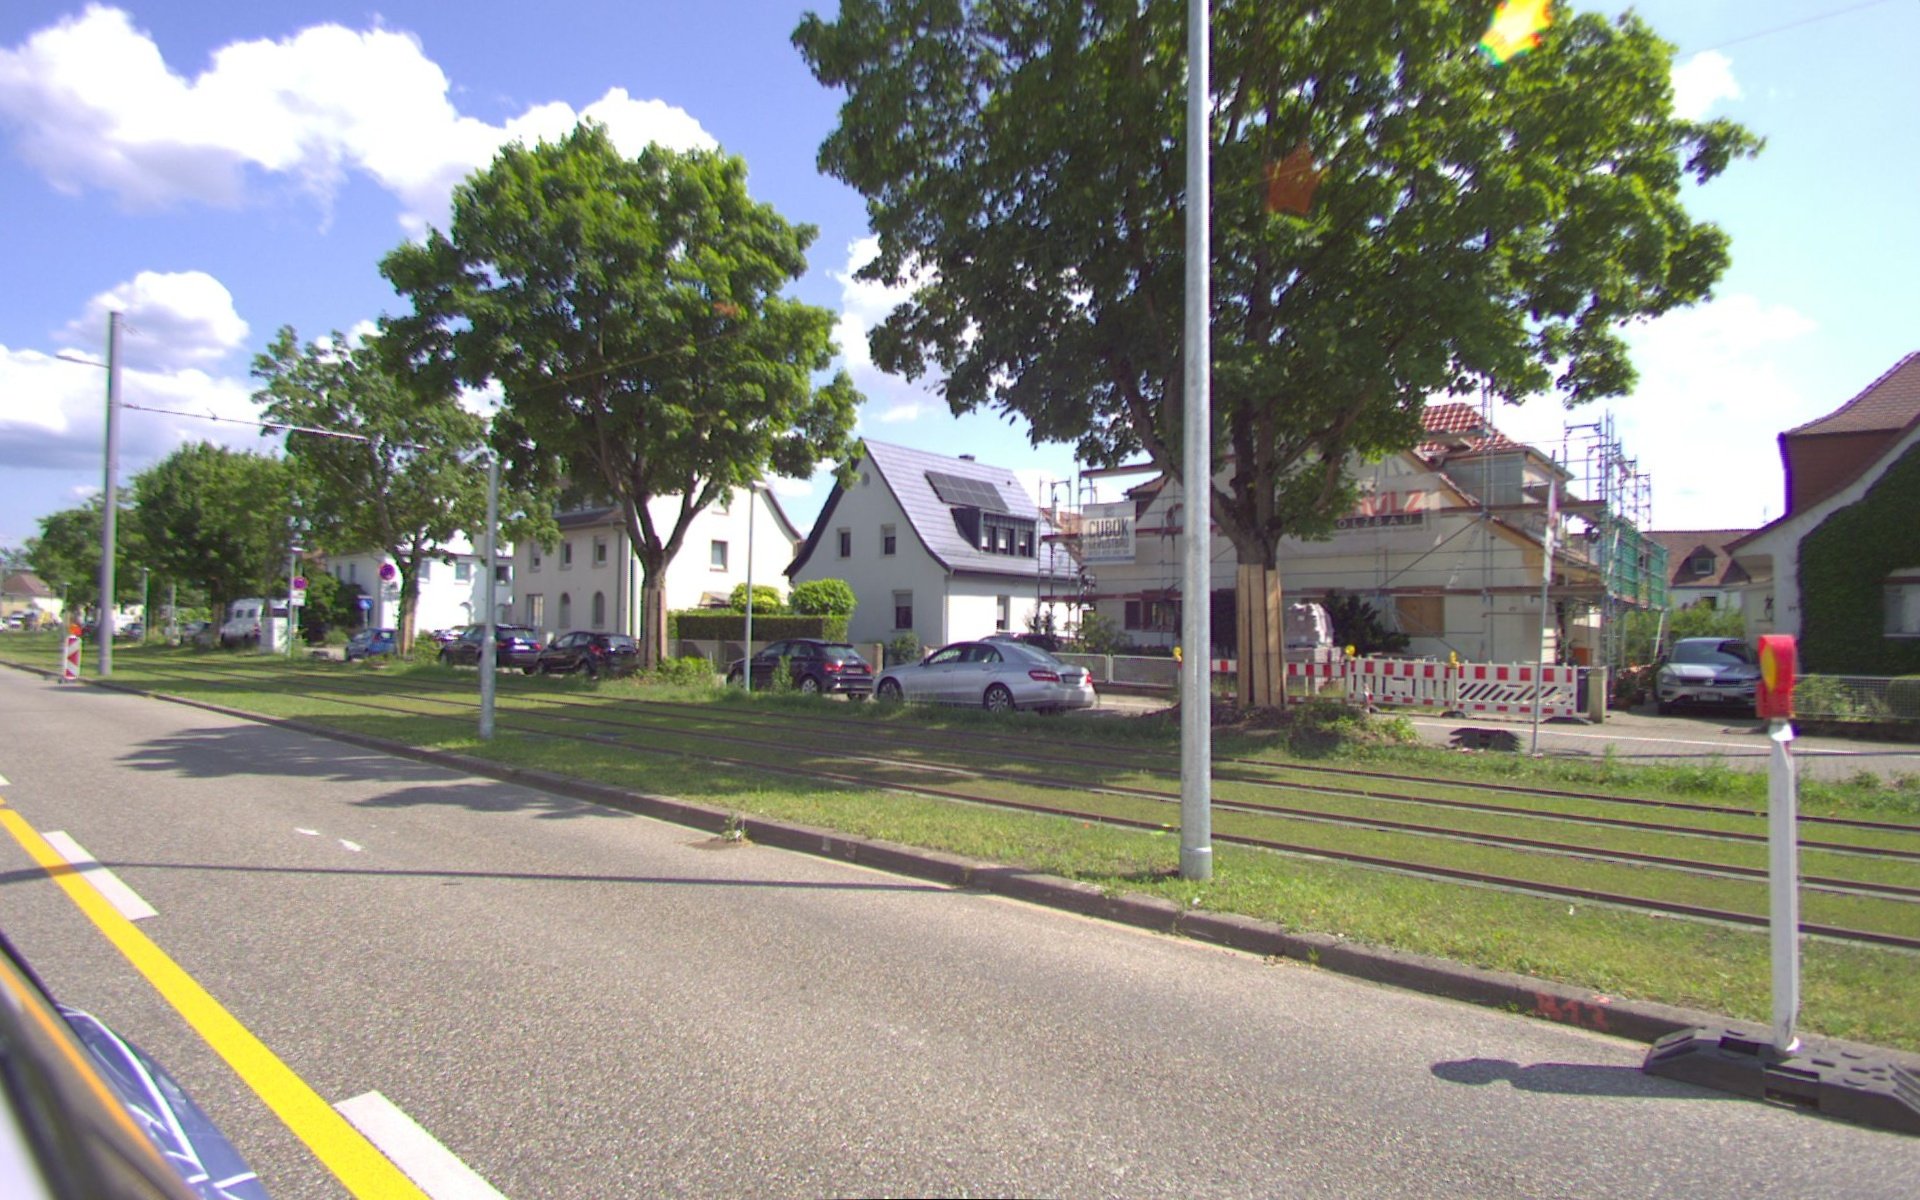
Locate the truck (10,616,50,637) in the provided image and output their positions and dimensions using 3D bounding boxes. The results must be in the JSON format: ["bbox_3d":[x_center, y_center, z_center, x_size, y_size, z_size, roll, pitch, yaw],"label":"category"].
[{"bbox_3d":[-152.148,4.385,165.672,2.658,3.392,8.074,3,-3,-28],"label":"truck"}]

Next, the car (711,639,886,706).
[{"bbox_3d":[-3.818,1.674,23.663,3.851,1.328,1.973,0,-5,41],"label":"car"}]

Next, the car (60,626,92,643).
[{"bbox_3d":[-86.523,3.404,99.029,4.324,1.551,1.971,-1,-3,44],"label":"car"}]

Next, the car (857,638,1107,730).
[{"bbox_3d":[0.316,1.569,19.949,4.938,1.494,1.785,-1,-3,42],"label":"car"}]

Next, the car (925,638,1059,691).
[{"bbox_3d":[1.024,1.890,30.533,1.981,1.412,3.945,0,-1,41],"label":"car"}]

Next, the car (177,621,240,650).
[{"bbox_3d":[-43.534,2.041,58.583,4.485,1.517,1.972,0,-3,42],"label":"car"}]

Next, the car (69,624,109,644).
[{"bbox_3d":[-73.662,2.884,85.593,4.321,1.551,1.972,0,-3,42],"label":"car"}]

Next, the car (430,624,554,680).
[{"bbox_3d":[-15.885,1.727,34.278,4.386,1.704,1.974,0,-3,38],"label":"car"}]

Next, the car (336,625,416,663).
[{"bbox_3d":[-23.644,1.765,40.934,3.890,1.446,1.734,-1,-3,43],"label":"car"}]

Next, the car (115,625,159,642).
[{"bbox_3d":[-58.246,2.369,71.590,3.834,1.101,1.762,0,-3,41],"label":"car"}]

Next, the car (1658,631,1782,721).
[{"bbox_3d":[16.188,1.568,21.497,1.872,1.697,3.609,0,-3,41],"label":"car"}]

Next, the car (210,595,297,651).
[{"bbox_3d":[-36.706,1.223,52.507,6.456,2.751,1.973,-1,-4,40],"label":"car"}]

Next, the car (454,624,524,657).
[{"bbox_3d":[-24.937,2.135,53.503,3.999,1.589,1.882,0,-3,42],"label":"car"}]

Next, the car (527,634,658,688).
[{"bbox_3d":[-11.067,1.818,30.365,3.998,1.450,1.973,0,-4,41],"label":"car"}]

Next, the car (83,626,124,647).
[{"bbox_3d":[-69.551,2.984,82.164,4.099,1.590,1.885,-3,-7,42],"label":"car"}]

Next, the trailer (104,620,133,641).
[{"bbox_3d":[-62.352,2.265,74.981,2.281,1.530,1.286,-1,-3,41],"label":"trailer"}]
